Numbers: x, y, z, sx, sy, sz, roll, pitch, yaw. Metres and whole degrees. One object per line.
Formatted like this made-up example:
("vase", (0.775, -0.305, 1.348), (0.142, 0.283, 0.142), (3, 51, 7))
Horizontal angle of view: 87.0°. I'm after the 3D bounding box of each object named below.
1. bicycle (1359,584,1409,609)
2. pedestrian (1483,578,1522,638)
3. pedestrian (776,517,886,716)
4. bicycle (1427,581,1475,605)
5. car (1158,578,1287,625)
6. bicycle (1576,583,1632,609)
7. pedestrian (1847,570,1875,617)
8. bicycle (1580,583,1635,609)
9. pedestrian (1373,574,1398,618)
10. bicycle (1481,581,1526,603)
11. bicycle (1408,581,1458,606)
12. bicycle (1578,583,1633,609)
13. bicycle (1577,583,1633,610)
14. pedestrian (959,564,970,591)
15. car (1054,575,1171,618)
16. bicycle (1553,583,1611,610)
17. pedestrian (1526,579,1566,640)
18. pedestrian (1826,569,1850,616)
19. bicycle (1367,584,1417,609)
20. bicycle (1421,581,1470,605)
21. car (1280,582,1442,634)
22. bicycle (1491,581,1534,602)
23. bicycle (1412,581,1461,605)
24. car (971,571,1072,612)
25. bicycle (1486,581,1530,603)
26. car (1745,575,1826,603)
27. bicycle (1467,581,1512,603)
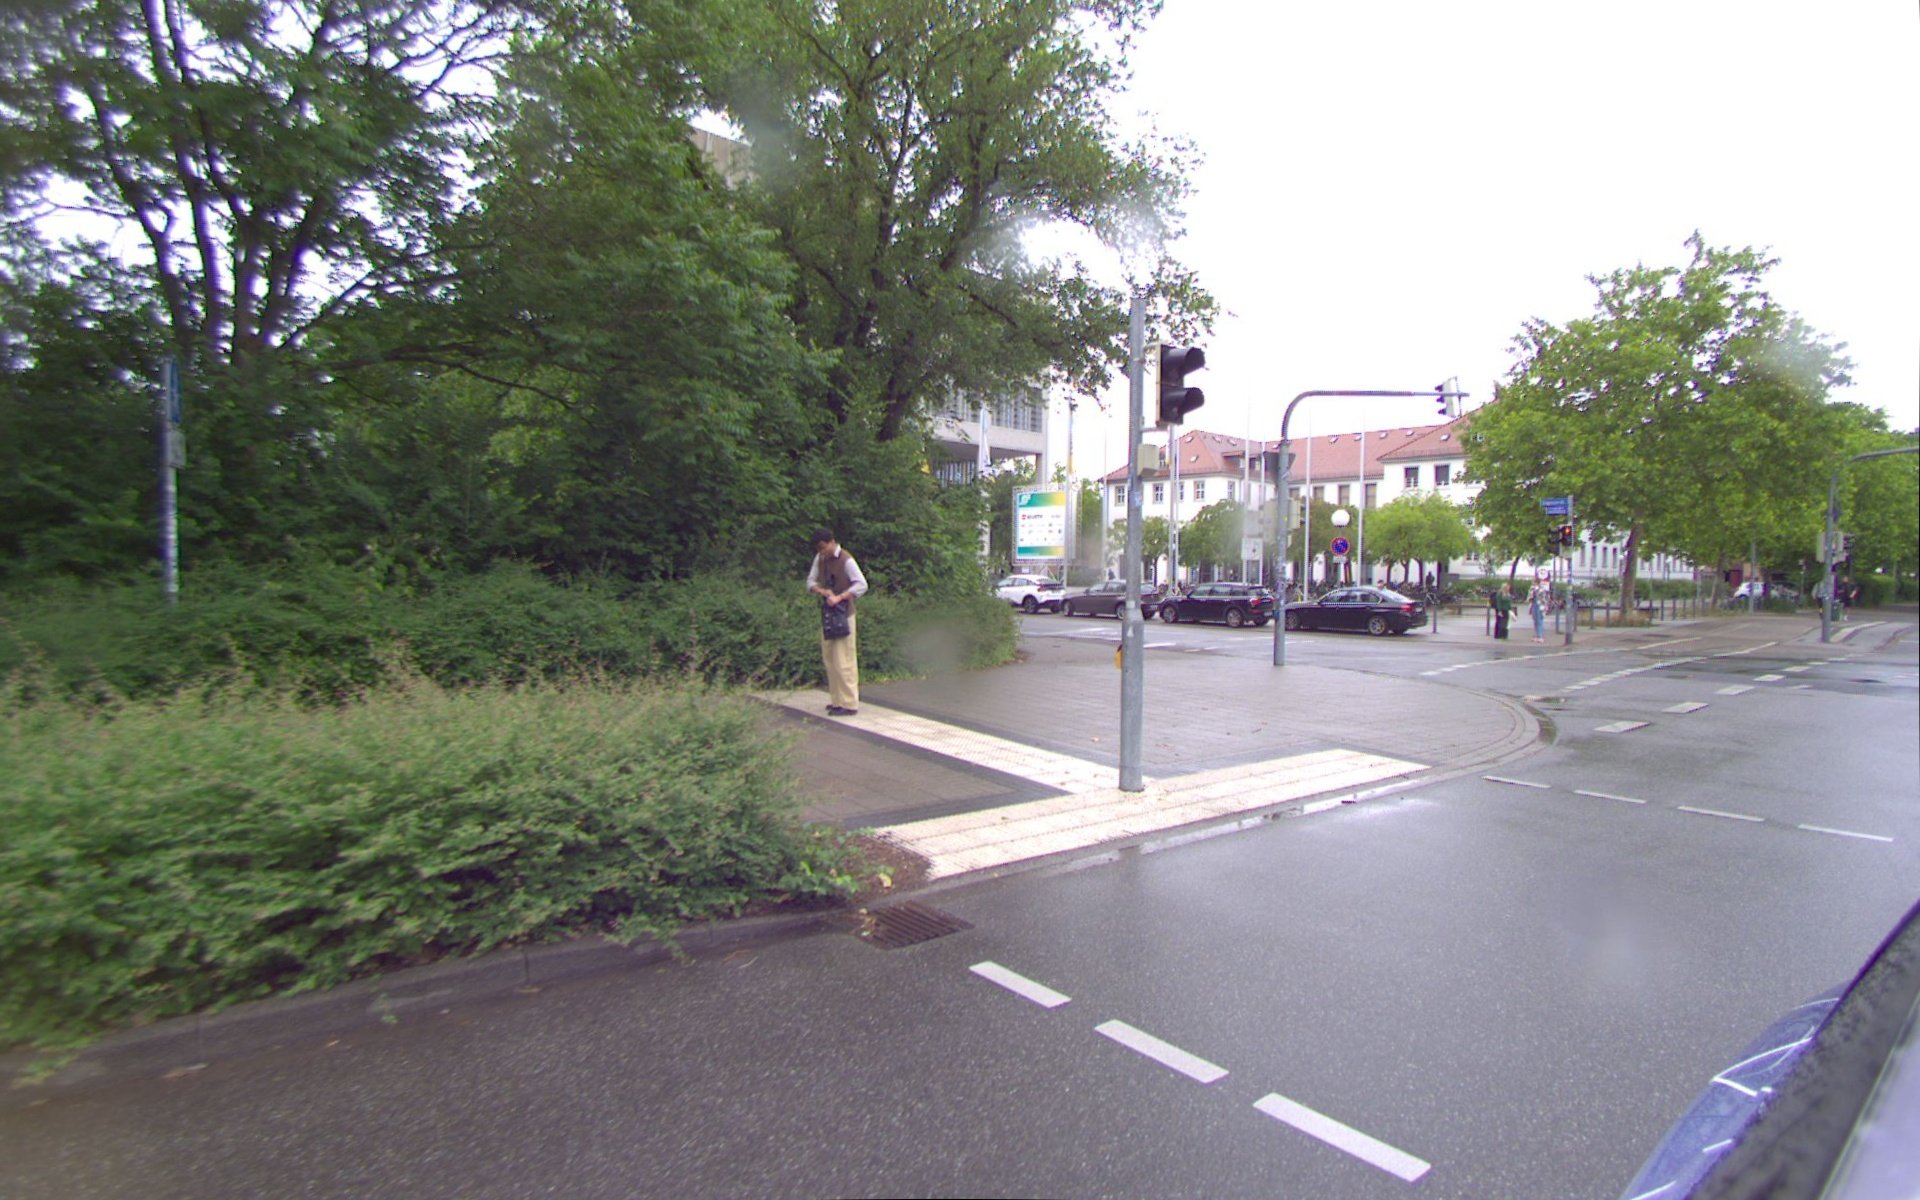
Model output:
("bicycle", (21.542, -0.197, 51.414), (2.274, 1.237, 0.591), (2, 1, 38))
("pedestrian", (15.216, 0.213, 28.409), (0.868, 1.627, 0.856), (1, 1, 25))
("pedestrian", (-1.297, 0.145, 10.123), (0.834, 1.882, 0.732), (0, 1, -33))
("bicycle", (26.544, -0.393, 54.732), (2.274, 1.237, 0.591), (2, 1, 38))
("car", (8.957, 0.014, 34.736), (1.743, 1.395, 4.010), (-4, 4, -41))
("bicycle", (31.974, -0.194, 50.248), (2.274, 1.237, 0.591), (2, 1, 38))
("pedestrian", (36.166, -0.280, 40.625), (0.619, 1.847, 0.779), (1, 1, 28))
("bicycle", (32.921, -0.215, 51.463), (2.274, 1.237, 0.591), (2, 1, 38))
("pedestrian", (17.540, -0.177, 41.742), (0.838, 1.760, 1.117), (1, 1, 18))
("bicycle", (32.734, -0.482, 60.970), (2.274, 1.237, 0.591), (2, 1, 38))
("bicycle", (24.675, -0.357, 52.803), (2.274, 1.237, 0.591), (2, 1, 38))
("bicycle", (32.455, -0.206, 50.900), (2.274, 1.237, 0.591), (2, 1, 38))
("bicycle", (31.612, -0.182, 49.633), (2.274, 1.237, 0.591), (2, 1, 38))
("pedestrian", (0.271, -1.329, 59.282), (0.459, 1.534, 0.568), (0, 1, -20))
("car", (5.730, -0.179, 38.358), (1.744, 1.415, 4.228), (-4, 4, -43))
("bicycle", (29.557, -0.168, 48.128), (2.274, 1.237, 0.591), (2, 1, 38))
("pedestrian", (16.017, 0.243, 27.695), (0.869, 1.627, 0.855), (1, 1, 28))
("pedestrian", (35.593, -0.307, 41.010), (0.621, 1.847, 0.777), (1, 1, 36))
("bicycle", (22.090, -0.192, 51.817), (2.274, 1.237, 0.591), (2, 1, 38))
("bicycle", (25.979, -0.385, 54.173), (2.274, 1.237, 0.591), (2, 1, 38))
("car", (12.334, 0.195, 31.321), (1.744, 1.353, 4.380), (-4, 4, -43))
("bicycle", (34.108, -0.507, 62.509), (2.274, 1.237, 0.591), (2, 1, 38))
("bicycle", (25.232, -0.381, 53.655), (2.274, 1.237, 0.591), (2, 1, 38))
("car", (2.510, -0.392, 41.966), (1.745, 1.536, 4.089), (-4, 4, -45))
("bicycle", (33.418, -0.493, 61.694), (2.274, 1.237, 0.591), (2, 1, 38))
("car", (59.409, -0.811, 72.904), (4.411, 1.896, 1.613), (2, 2, 43))
("bicycle", (31.371, -0.474, 60.011), (2.274, 1.237, 0.591), (2, 1, 38))
